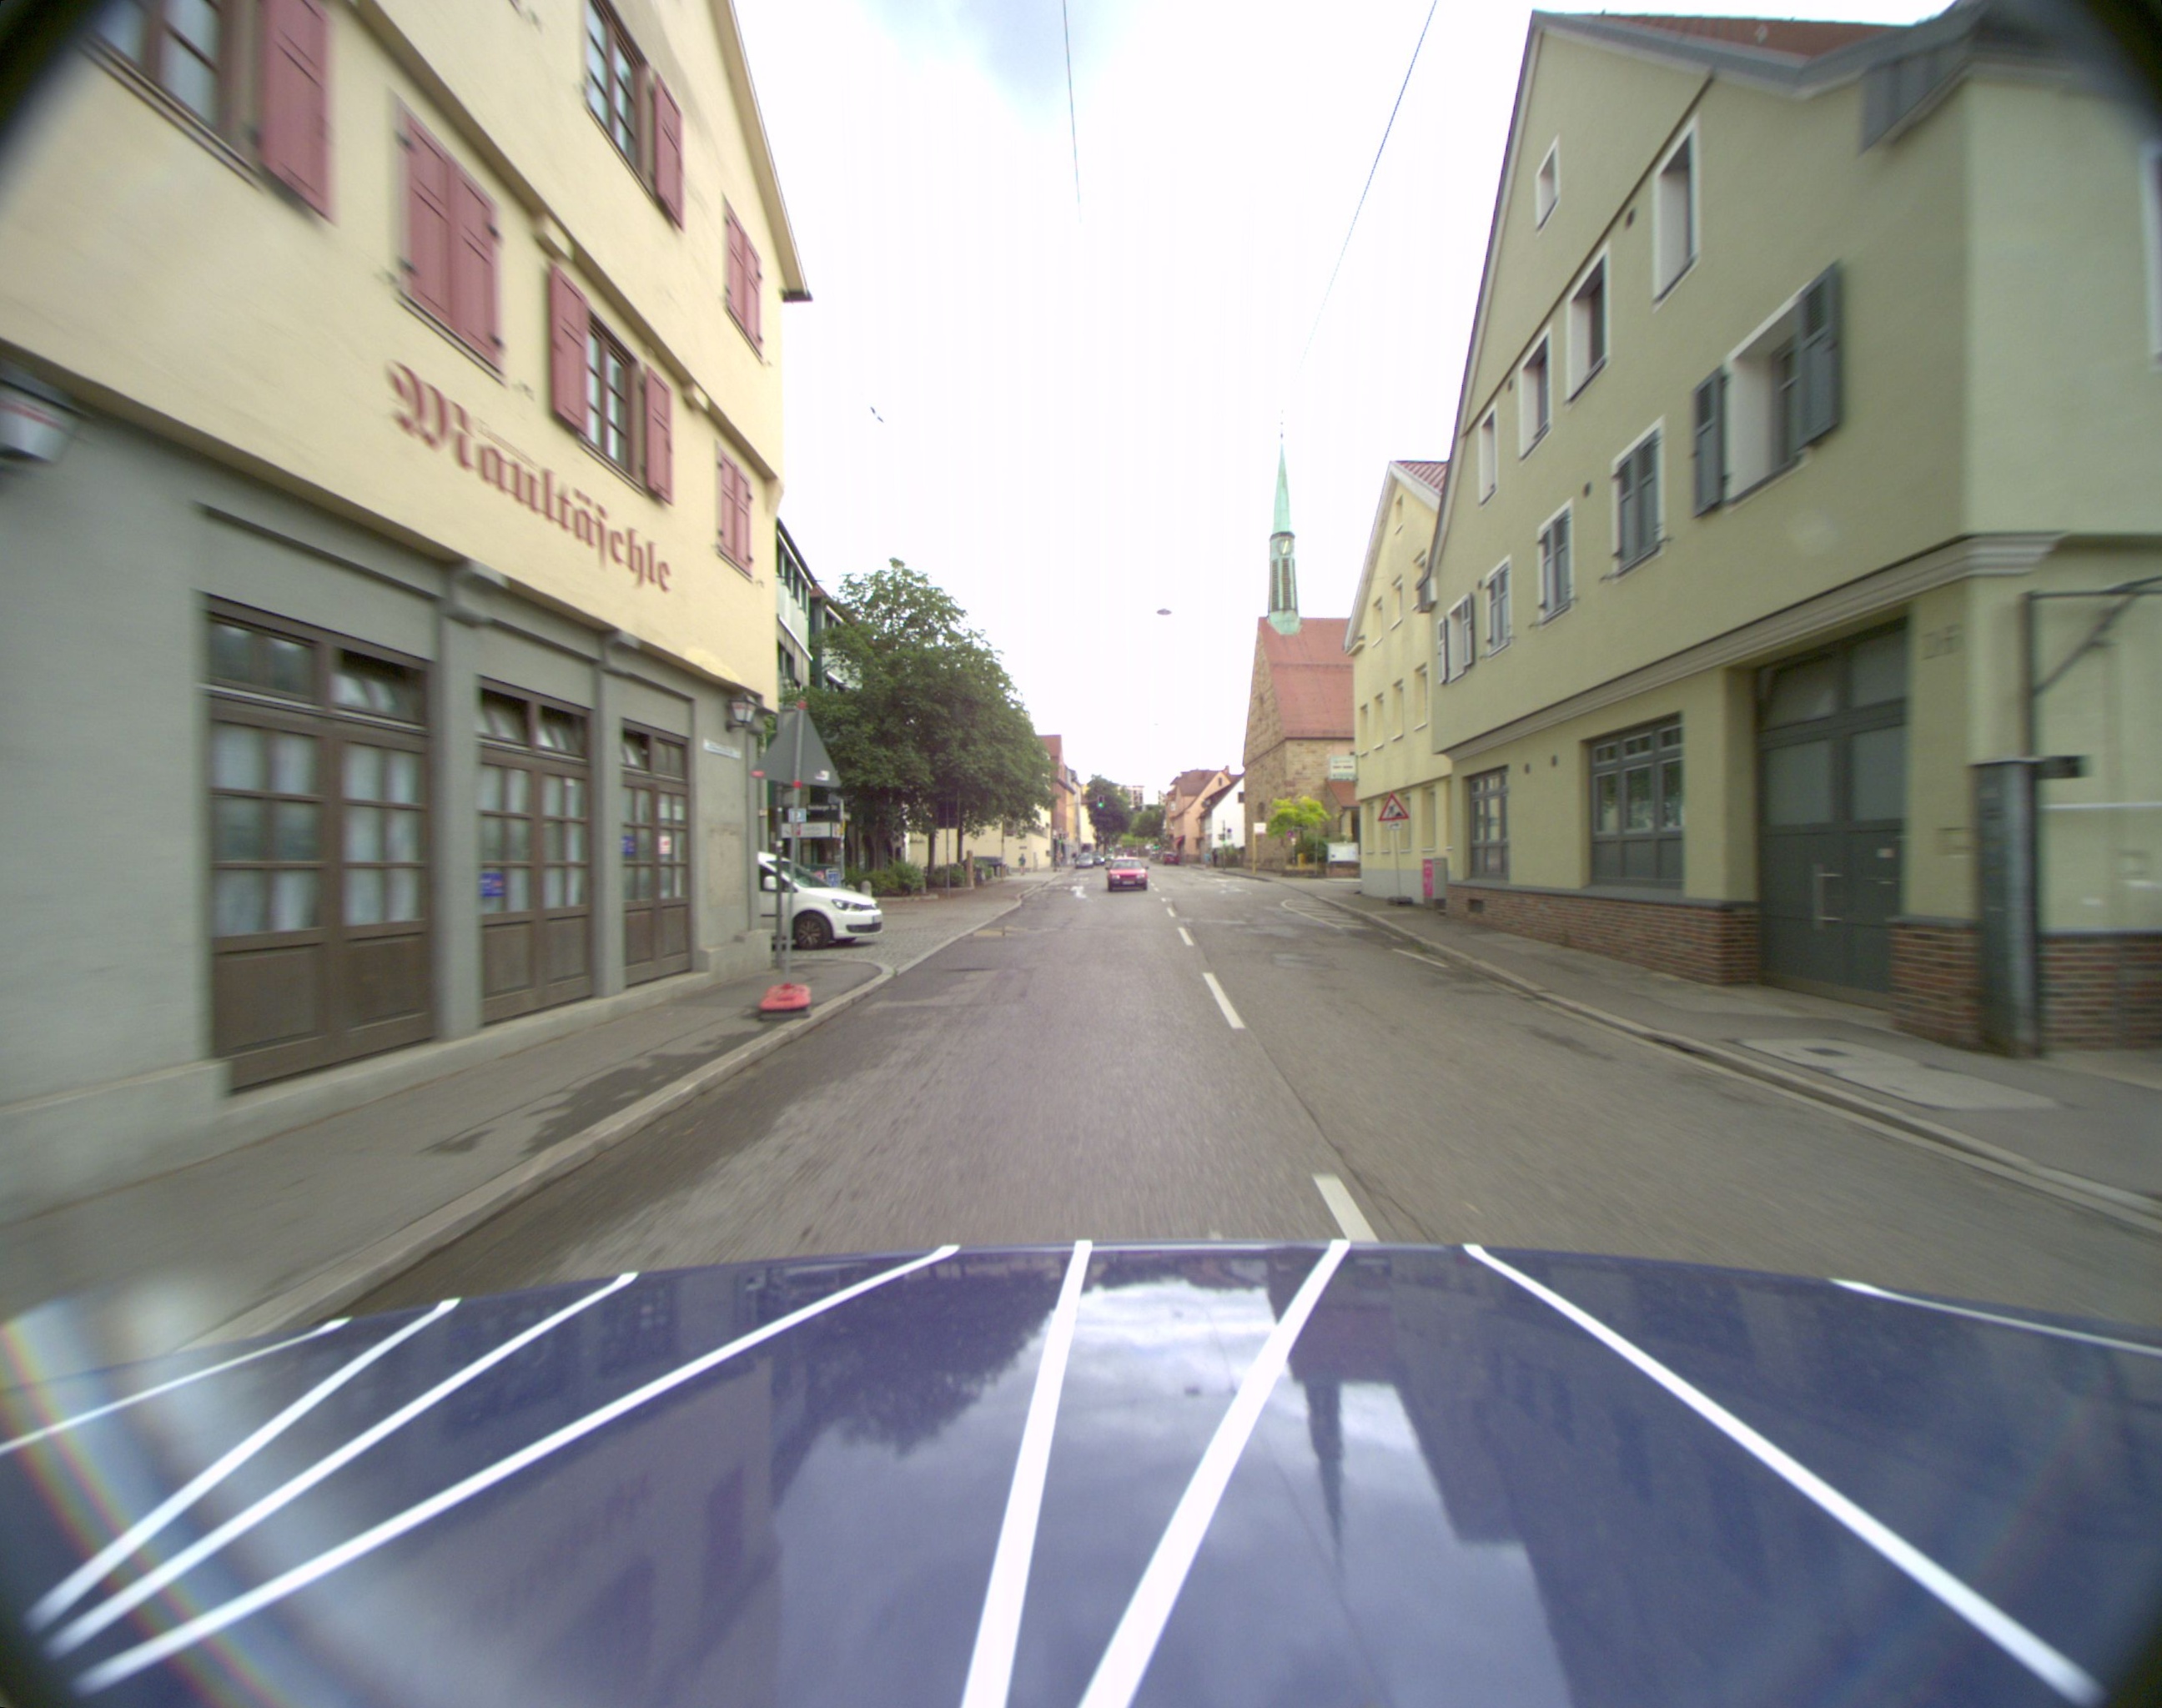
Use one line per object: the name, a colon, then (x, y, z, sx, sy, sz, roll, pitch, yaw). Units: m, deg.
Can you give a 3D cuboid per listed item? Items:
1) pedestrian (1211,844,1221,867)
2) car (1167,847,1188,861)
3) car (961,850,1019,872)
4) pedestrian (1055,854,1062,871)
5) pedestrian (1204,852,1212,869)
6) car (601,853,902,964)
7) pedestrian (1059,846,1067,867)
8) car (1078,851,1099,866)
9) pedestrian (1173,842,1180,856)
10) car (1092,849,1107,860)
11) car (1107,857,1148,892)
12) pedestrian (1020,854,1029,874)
pedestrian: (12.689, 0.143, 71.404, 0.758, 2.109, 0.783, -1, 1, 3)
car: (12.043, -0.024, 95.033, 2.212, 1.668, 4.498, 0, 1, 2)
car: (-6.803, 0.529, 57.098, 3.995, 1.455, 2.000, -2, 1, 5)
pedestrian: (-1.910, 0.713, 63.979, 0.599, 1.435, 0.772, 0, 1, 0)
pedestrian: (11.952, 0.614, 71.580, 0.637, 1.597, 0.712, 0, 1, 3)
car: (-5.715, 0.910, 13.609, 4.463, 1.777, 2.000, -1, 1, 2)
pedestrian: (-1.820, 0.295, 76.393, 0.660, 2.102, 0.646, 1, 0, 2)
car: (0.778, 0.454, 79.150, 2.033, 1.546, 4.000, 0, 1, 2)
pedestrian: (13.643, -0.706, 108.734, 0.836, 2.002, 0.845, -1, 0, 1)
car: (2.384, 0.033, 95.459, 1.822, 1.380, 4.000, 0, 1, 2)
car: (2.051, 0.869, 33.317, 1.685, 1.418, 4.022, -1, 0, 4)
pedestrian: (-4.295, 0.757, 57.819, 0.599, 1.435, 0.772, 0, 1, 3)
